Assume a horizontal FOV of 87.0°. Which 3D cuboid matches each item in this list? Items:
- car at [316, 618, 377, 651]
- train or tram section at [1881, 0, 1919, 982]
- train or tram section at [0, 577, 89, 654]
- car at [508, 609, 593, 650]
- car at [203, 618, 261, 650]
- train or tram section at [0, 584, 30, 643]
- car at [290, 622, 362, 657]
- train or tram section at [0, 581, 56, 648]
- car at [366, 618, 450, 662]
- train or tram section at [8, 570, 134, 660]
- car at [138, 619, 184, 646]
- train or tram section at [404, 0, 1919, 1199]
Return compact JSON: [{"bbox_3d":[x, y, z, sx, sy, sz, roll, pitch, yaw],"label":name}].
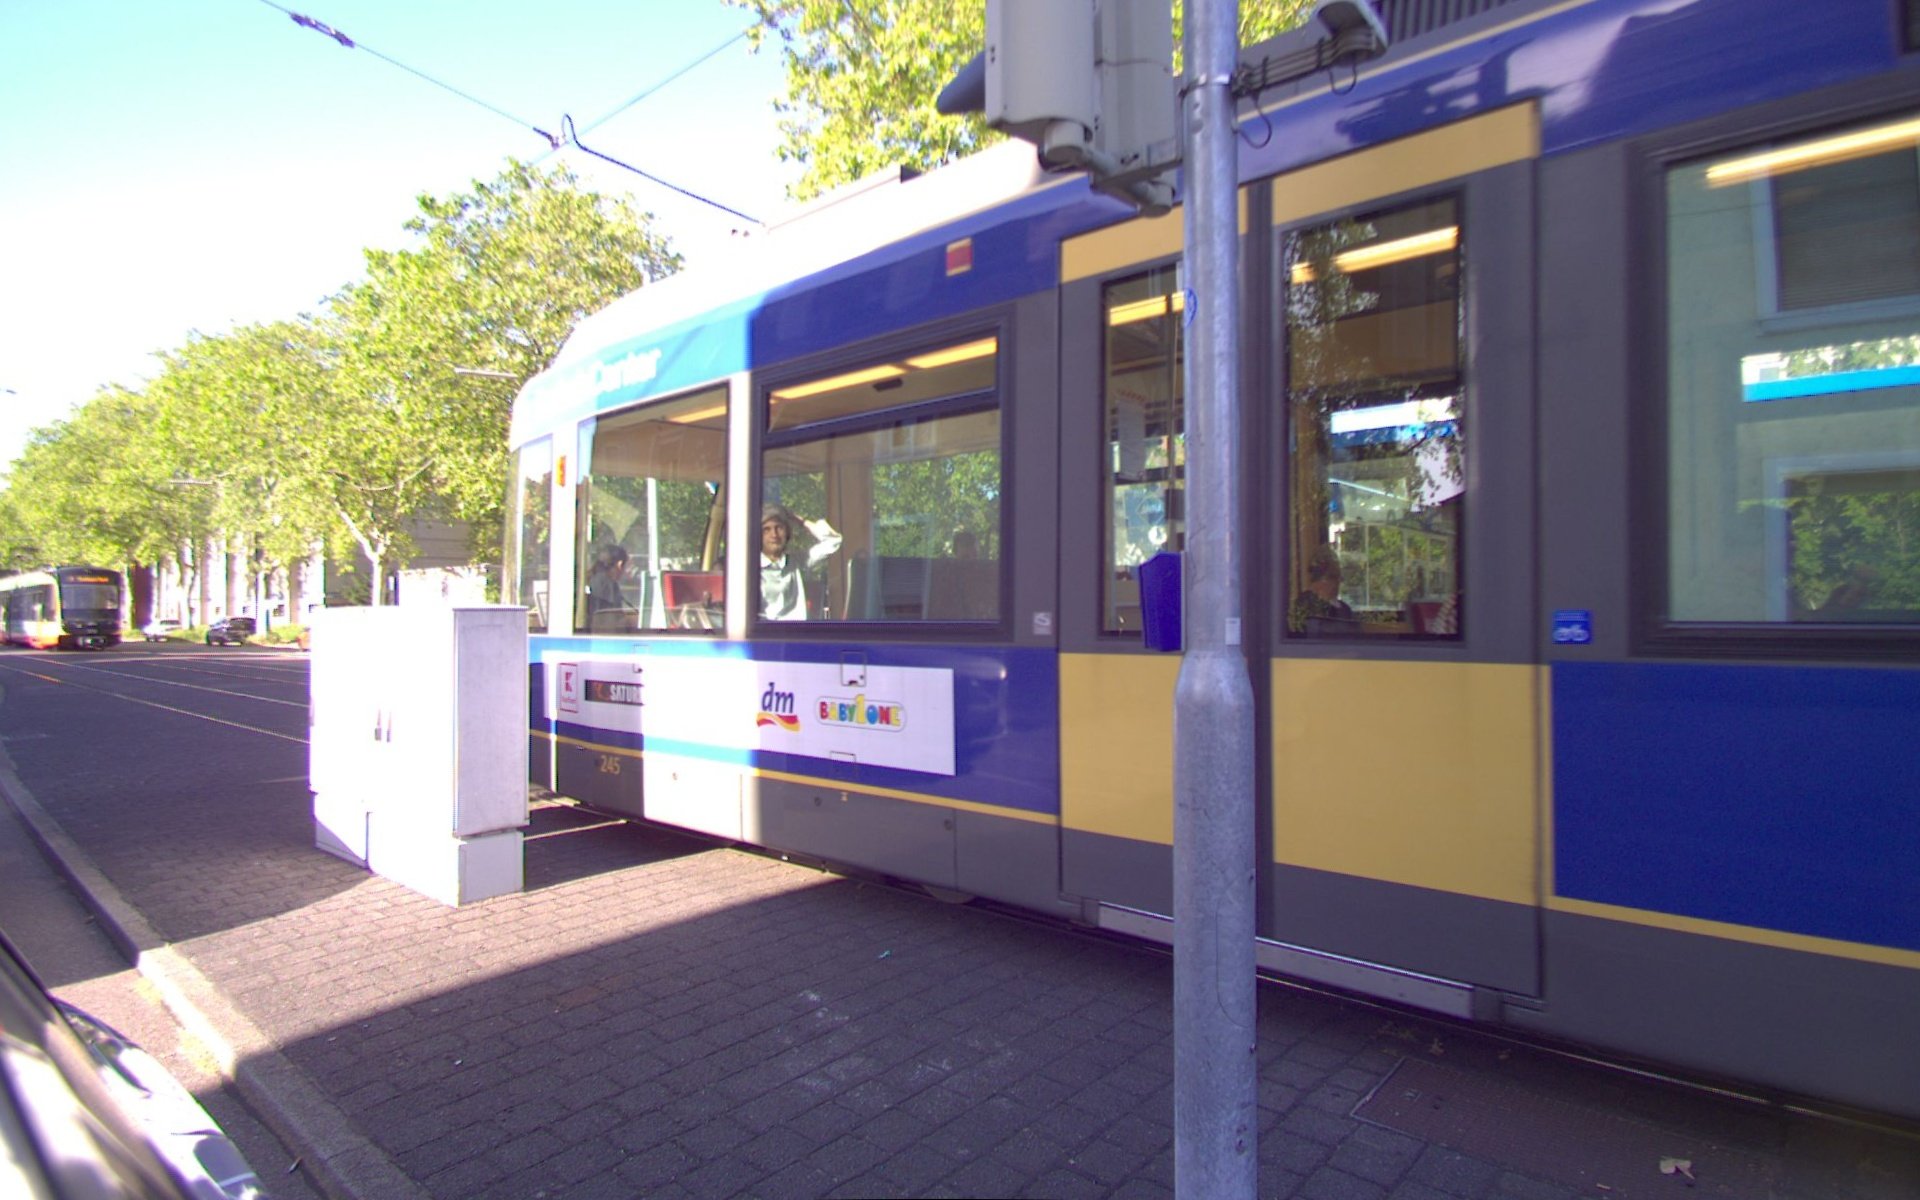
[{"bbox_3d":[-32.739,1.818,53.970,3.659,1.603,1.732,-1,1,41],"label":"car"},{"bbox_3d":[6.065,-0.526,0.263,8.458,3.526,2.785,-2,-2,41],"label":"train or tram section"},{"bbox_3d":[-46.047,0.728,50.335,10.179,3.503,2.806,-1,0,42],"label":"train or tram section"},{"bbox_3d":[-17.132,1.201,42.275,4.002,1.545,1.820,-1,1,45],"label":"car"},{"bbox_3d":[-40.653,1.893,56.478,4.098,1.628,1.821,-1,1,44],"label":"car"},{"bbox_3d":[-61.316,0.860,63.847,10.179,3.503,2.806,-1,0,41],"label":"train or tram section"},{"bbox_3d":[-28.962,1.780,46.176,4.001,1.418,1.821,-1,1,44],"label":"car"},{"bbox_3d":[-53.696,0.789,57.142,10.179,3.503,2.806,-1,0,41],"label":"train or tram section"},{"bbox_3d":[-21.963,1.547,40.182,4.002,1.545,1.820,-1,1,45],"label":"car"},{"bbox_3d":[-38.443,0.623,43.591,10.179,3.503,2.825,-1,0,42],"label":"train or tram section"},{"bbox_3d":[-53.836,2.169,68.203,4.098,1.686,1.821,-1,1,44],"label":"car"},{"bbox_3d":[-0.027,-0.387,5.588,7.958,3.526,2.785,-2,-2,41],"label":"train or tram section"}]
